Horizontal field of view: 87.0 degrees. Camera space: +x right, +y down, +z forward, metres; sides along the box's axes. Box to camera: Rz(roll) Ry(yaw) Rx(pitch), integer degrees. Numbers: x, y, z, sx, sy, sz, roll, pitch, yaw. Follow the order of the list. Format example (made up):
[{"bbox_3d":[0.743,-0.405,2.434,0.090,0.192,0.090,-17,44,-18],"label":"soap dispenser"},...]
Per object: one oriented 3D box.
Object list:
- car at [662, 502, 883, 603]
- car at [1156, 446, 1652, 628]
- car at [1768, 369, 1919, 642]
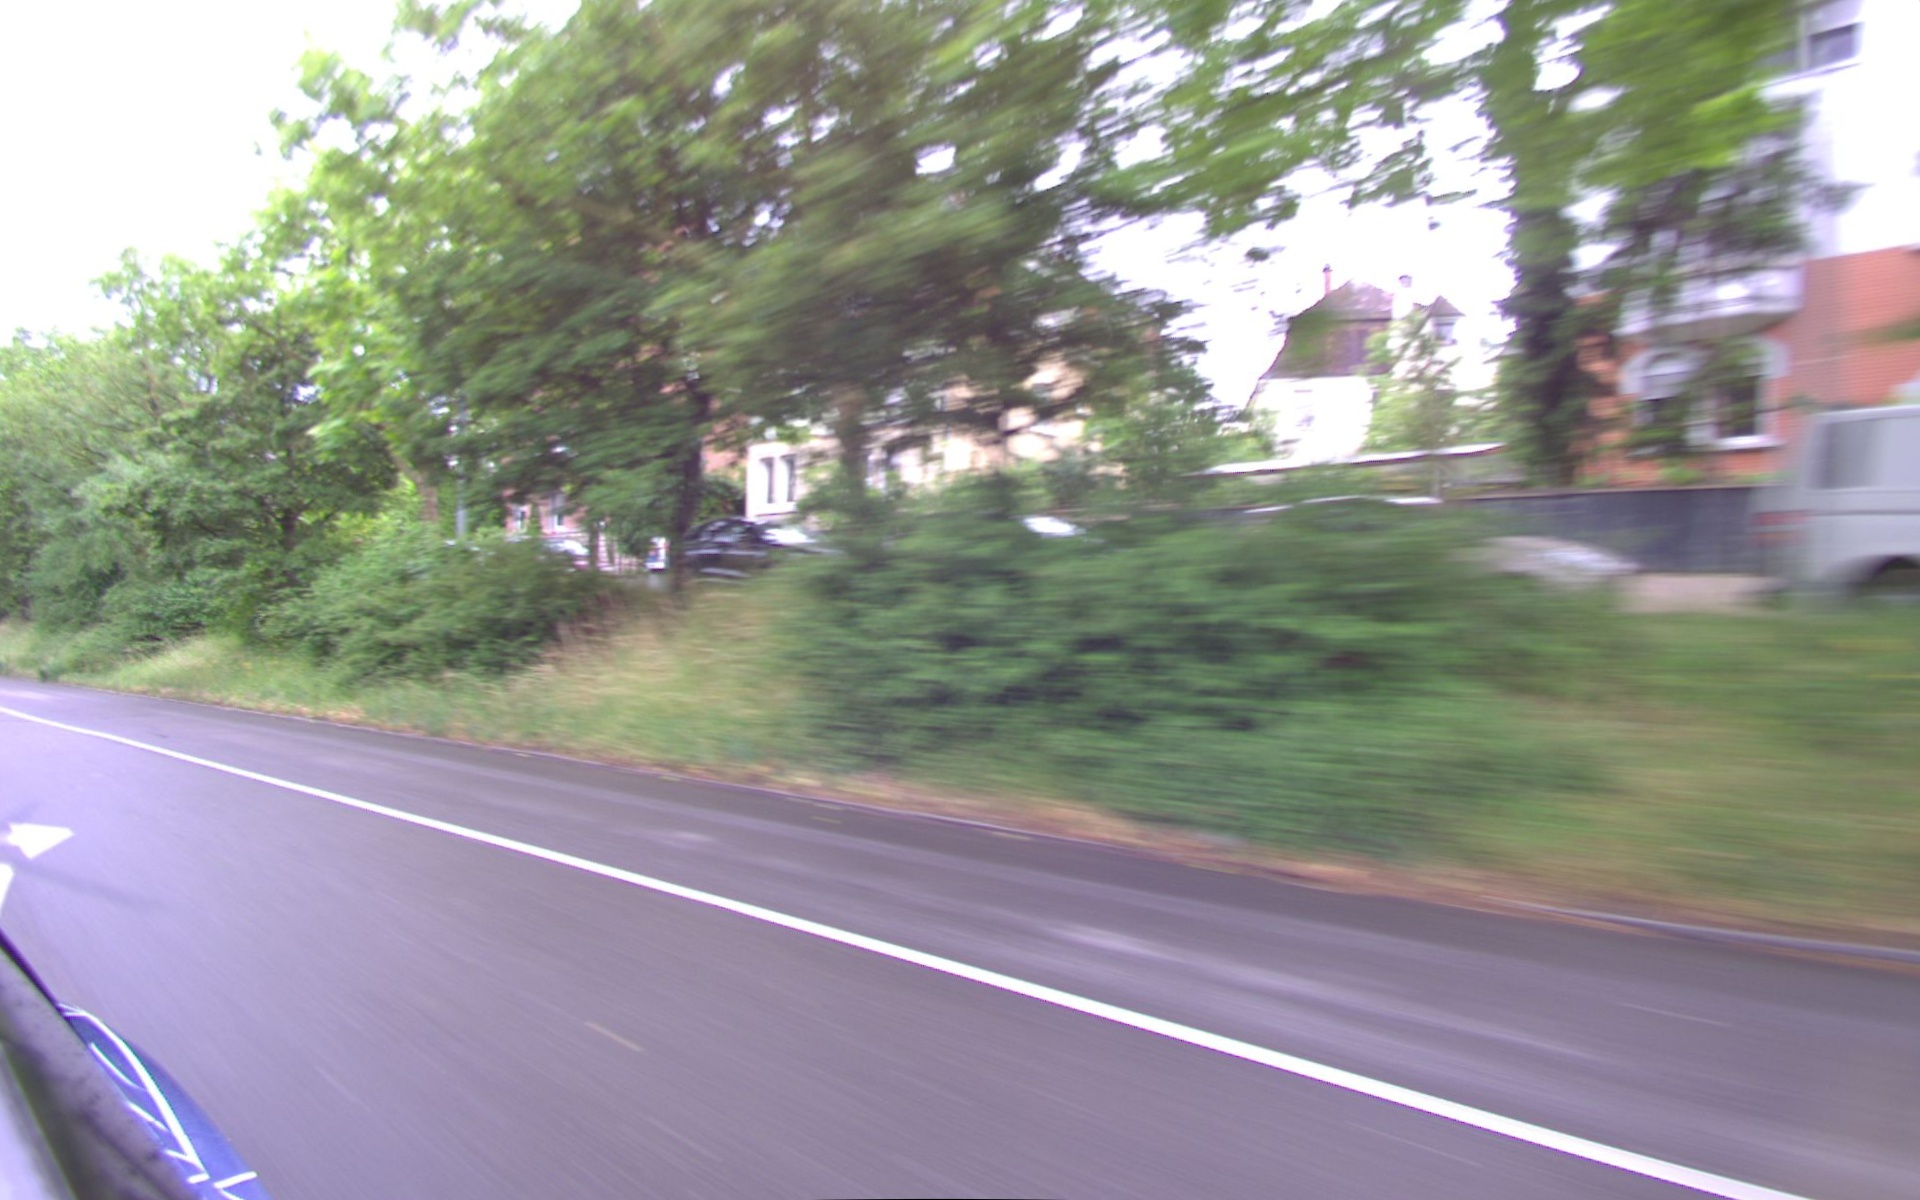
[{"bbox_3d":[-3.572,-0.789,18.822,4.285,1.569,1.810,-2,-1,43],"label":"car"},{"bbox_3d":[4.649,-0.519,11.096,4.627,1.569,1.810,-2,-1,43],"label":"car"},{"bbox_3d":[8.859,-0.750,7.268,4.627,2.029,1.972,-2,-1,43],"label":"car"}]
